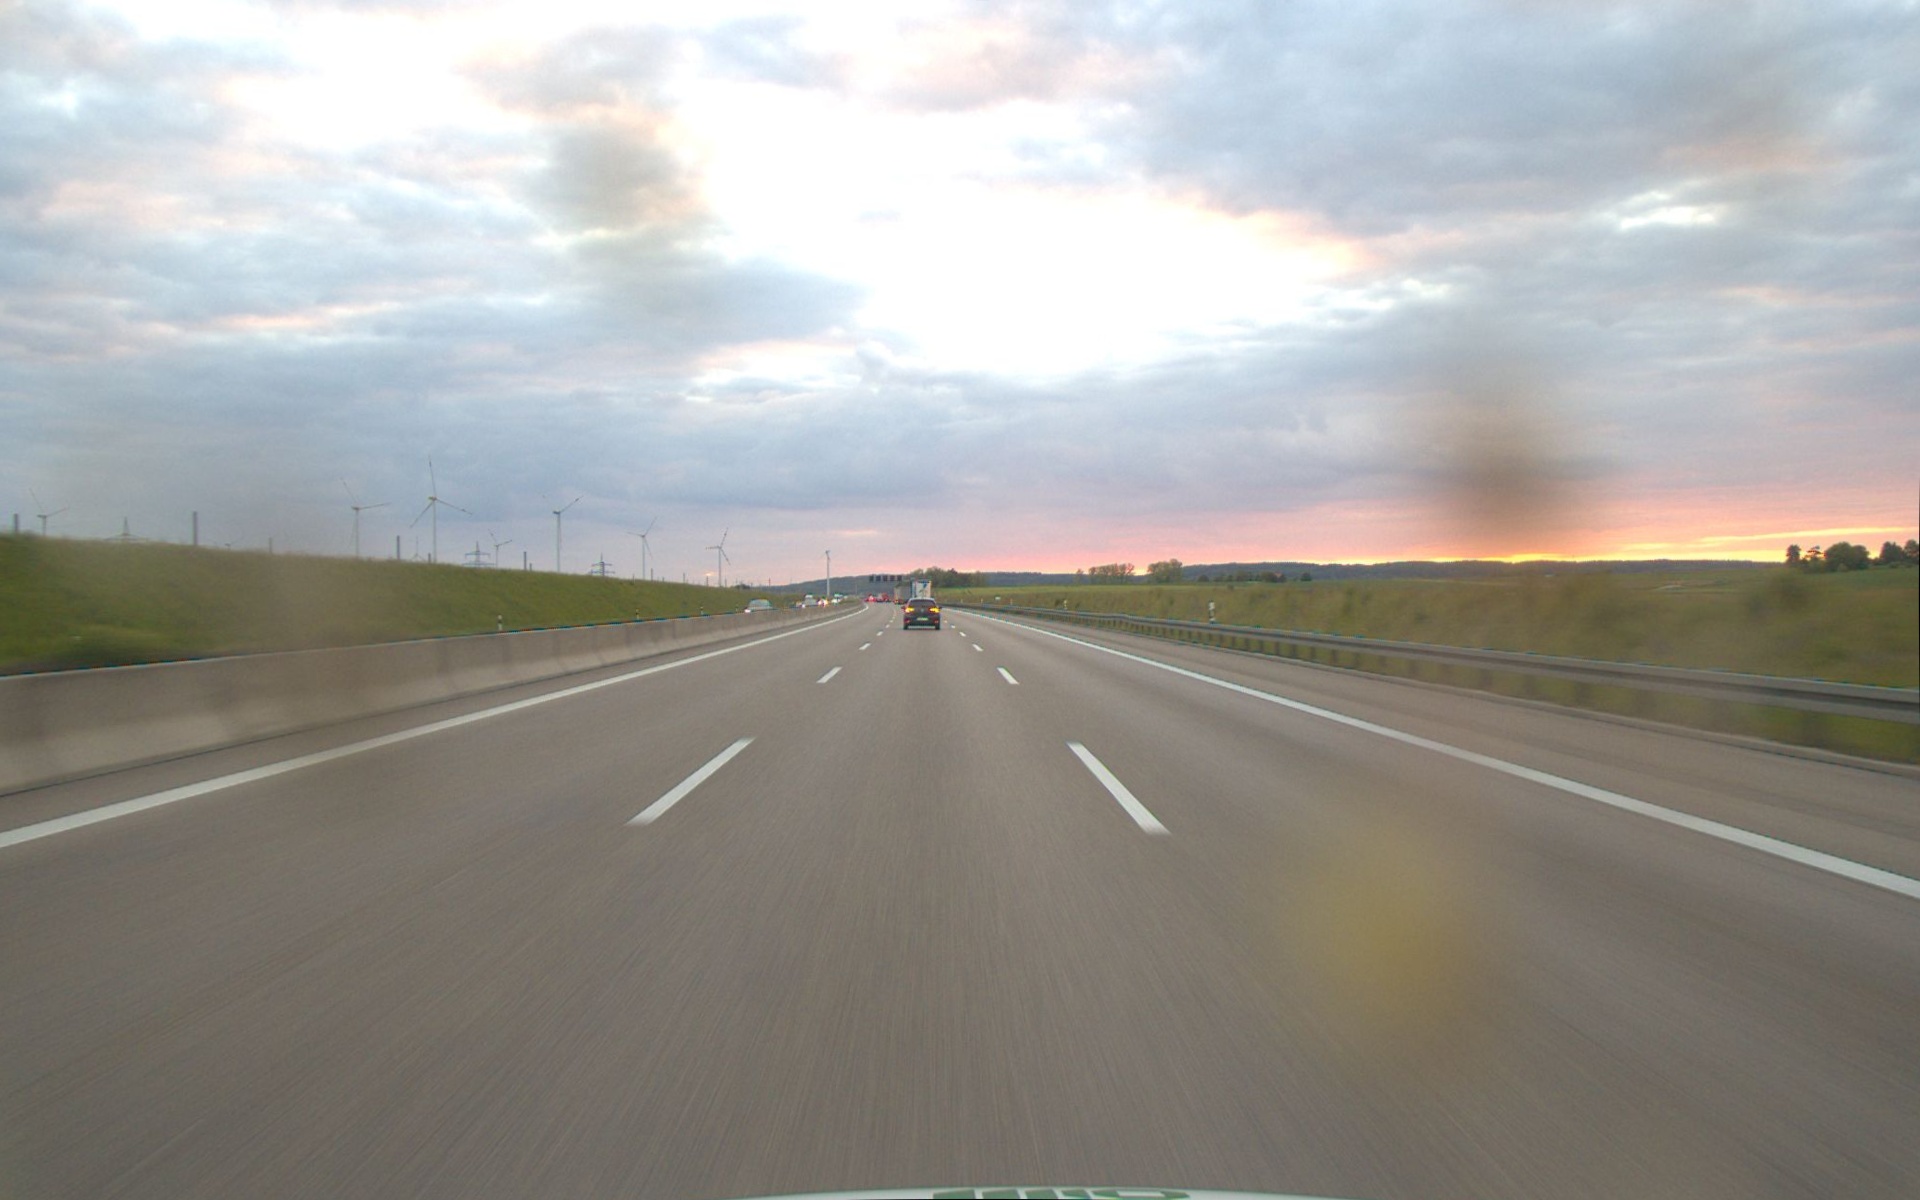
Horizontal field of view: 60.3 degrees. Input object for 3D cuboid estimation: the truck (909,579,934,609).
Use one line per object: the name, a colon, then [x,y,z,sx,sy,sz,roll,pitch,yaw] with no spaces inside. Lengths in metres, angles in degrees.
truck: [-6.211,-0.941,265.461,3.602,4.645,10.973,-1,0,-3]

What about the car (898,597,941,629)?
car: [-1.876,0.588,77.517,1.947,1.455,3.999,-1,0,-1]

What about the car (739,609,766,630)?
car: [-14.637,1.335,116.535,1.546,1.409,3.771,-1,0,-2]
